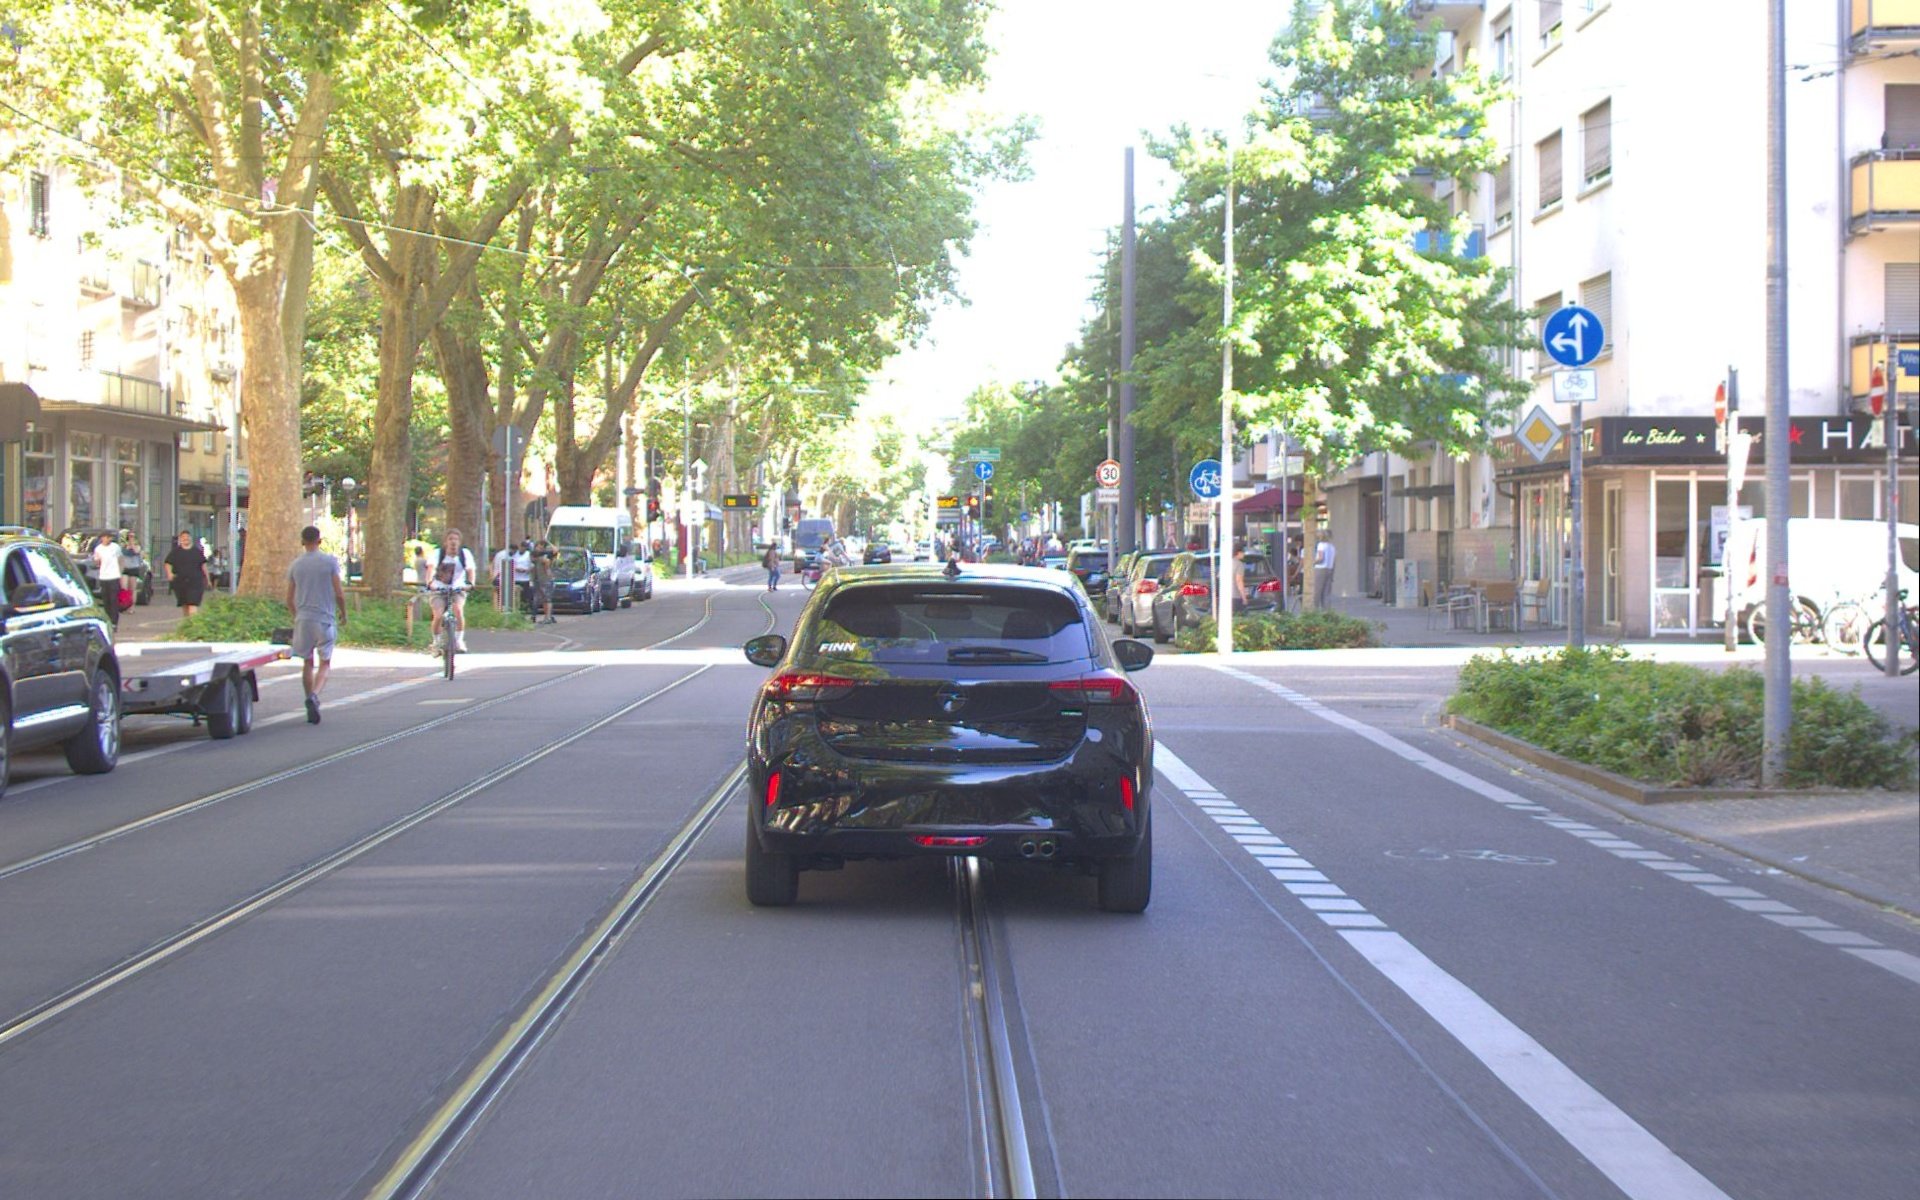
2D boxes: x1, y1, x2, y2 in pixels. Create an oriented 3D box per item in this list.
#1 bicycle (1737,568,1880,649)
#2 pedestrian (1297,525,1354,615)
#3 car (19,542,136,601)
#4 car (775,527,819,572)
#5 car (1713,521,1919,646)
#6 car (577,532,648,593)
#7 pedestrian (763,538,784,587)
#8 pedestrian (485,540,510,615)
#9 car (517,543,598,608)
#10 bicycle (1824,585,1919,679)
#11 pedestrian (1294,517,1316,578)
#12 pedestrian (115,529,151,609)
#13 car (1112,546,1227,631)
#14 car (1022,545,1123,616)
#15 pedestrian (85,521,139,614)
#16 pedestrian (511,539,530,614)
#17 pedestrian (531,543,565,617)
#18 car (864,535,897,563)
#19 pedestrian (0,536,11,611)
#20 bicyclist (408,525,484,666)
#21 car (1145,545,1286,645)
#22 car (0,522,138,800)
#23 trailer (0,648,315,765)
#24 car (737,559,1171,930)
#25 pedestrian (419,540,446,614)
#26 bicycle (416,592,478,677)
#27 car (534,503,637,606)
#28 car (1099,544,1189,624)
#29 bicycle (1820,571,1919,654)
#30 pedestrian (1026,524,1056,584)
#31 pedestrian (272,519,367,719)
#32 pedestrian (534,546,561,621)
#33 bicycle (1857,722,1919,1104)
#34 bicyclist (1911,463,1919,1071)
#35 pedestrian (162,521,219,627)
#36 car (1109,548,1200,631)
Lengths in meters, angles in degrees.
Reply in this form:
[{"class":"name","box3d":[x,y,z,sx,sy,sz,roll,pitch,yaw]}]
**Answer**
[{"class":"bicycle","box3d":[11.835,0.111,47.996,1.836,1.113,0.703,0,1,3]},{"class":"pedestrian","box3d":[7.089,-0.590,66.694,0.770,1.742,0.793,1,1,42]},{"class":"car","box3d":[-19.891,-0.660,77.630,1.695,1.272,3.828,0,1,-1]},{"class":"car","box3d":[-8.179,-2.544,172.115,1.993,2.204,5.103,0,1,-5]},{"class":"car","box3d":[13.615,-0.260,51.060,4.358,1.824,2.000,0,1,-4]},{"class":"car","box3d":[-10.068,-1.109,99.497,1.993,1.711,4.001,0,1,-6]},{"class":"pedestrian","box3d":[-6.065,-1.218,111.761,0.594,1.584,0.893,0,1,-7]},{"class":"pedestrian","box3d":[-9.780,-0.481,72.694,0.506,1.577,0.527,0,1,-4]},{"class":"car","box3d":[-9.645,-0.609,82.603,1.754,1.503,4.001,0,1,-4]},{"class":"bicycle","box3d":[10.603,0.351,39.273,0.802,1.012,1.969,-1,1,-6]},{"class":"pedestrian","box3d":[9.757,-1.495,97.260,0.629,1.727,0.632,0,1,6]},{"class":"pedestrian","box3d":[-17.183,-0.652,71.456,0.552,1.646,0.649,0,1,3]},{"class":"car","box3d":[3.762,-0.226,62.224,1.718,1.485,3.682,0,1,-2]},{"class":"car","box3d":[2.616,-0.485,80.952,1.993,1.634,4.001,0,1,-4]},{"class":"pedestrian","box3d":[-14.834,-0.570,60.154,0.846,1.627,0.644,0,1,-6]},{"class":"pedestrian","box3d":[-9.327,-0.499,72.960,0.346,1.577,0.508,0,1,-2]},{"class":"pedestrian","box3d":[-8.834,-0.423,73.715,0.683,1.577,0.557,0,1,-2]},{"class":"car","box3d":[-4.594,-2.965,199.902,1.750,1.646,4.000,0,1,1]},{"class":"pedestrian","box3d":[-18.187,-0.496,64.518,0.552,1.398,0.649,0,1,3]},{"class":"bicyclist","box3d":[-6.191,-0.062,41.439,0.784,1.672,0.957,0,1,-2]},{"class":"car","box3d":[4.157,-0.109,56.414,1.718,1.568,4.085,0,1,-4]},{"class":"car","box3d":[-6.891,0.373,22.384,1.993,1.694,4.485,-2,1,-1]},{"class":"trailer","box3d":[-6.873,0.807,27.815,2.160,0.629,6.400,0,1,-1]},{"class":"car","box3d":[-0.052,0.549,15.408,1.679,1.417,3.628,2,1,-1]},{"class":"pedestrian","box3d":[-11.230,-0.495,73.211,0.506,1.577,0.527,0,1,-15]},{"class":"bicycle","box3d":[-6.176,0.402,41.441,0.520,0.959,1.929,0,1,-2]},{"class":"car","box3d":[-9.665,-1.207,89.054,2.092,2.575,5.997,0,1,-1]},{"class":"car","box3d":[3.725,-0.350,69.975,1.718,1.568,3.682,0,1,1]},{"class":"bicycle","box3d":[12.662,0.166,46.914,1.773,1.113,0.613,0,1,13]},{"class":"pedestrian","box3d":[2.819,-1.602,119.703,0.856,2.007,1.069,-4,0,0]},{"class":"pedestrian","box3d":[-5.682,0.154,30.469,0.711,1.729,0.913,-2,1,-15]},{"class":"pedestrian","box3d":[-8.764,-0.356,73.055,0.506,1.577,0.527,0,1,-1]},{"class":"bicycle","box3d":[3.185,0.946,9.746,0.701,1.088,1.990,2,0,-1]},{"class":"bicyclist","box3d":[3.173,0.488,9.542,0.786,1.753,0.915,0,1,-1]},{"class":"pedestrian","box3d":[-13.597,-0.456,60.762,0.905,1.862,0.644,0,1,-6]},{"class":"car","box3d":[3.724,-0.220,66.126,1.651,1.568,3.083,0,1,1]}]
